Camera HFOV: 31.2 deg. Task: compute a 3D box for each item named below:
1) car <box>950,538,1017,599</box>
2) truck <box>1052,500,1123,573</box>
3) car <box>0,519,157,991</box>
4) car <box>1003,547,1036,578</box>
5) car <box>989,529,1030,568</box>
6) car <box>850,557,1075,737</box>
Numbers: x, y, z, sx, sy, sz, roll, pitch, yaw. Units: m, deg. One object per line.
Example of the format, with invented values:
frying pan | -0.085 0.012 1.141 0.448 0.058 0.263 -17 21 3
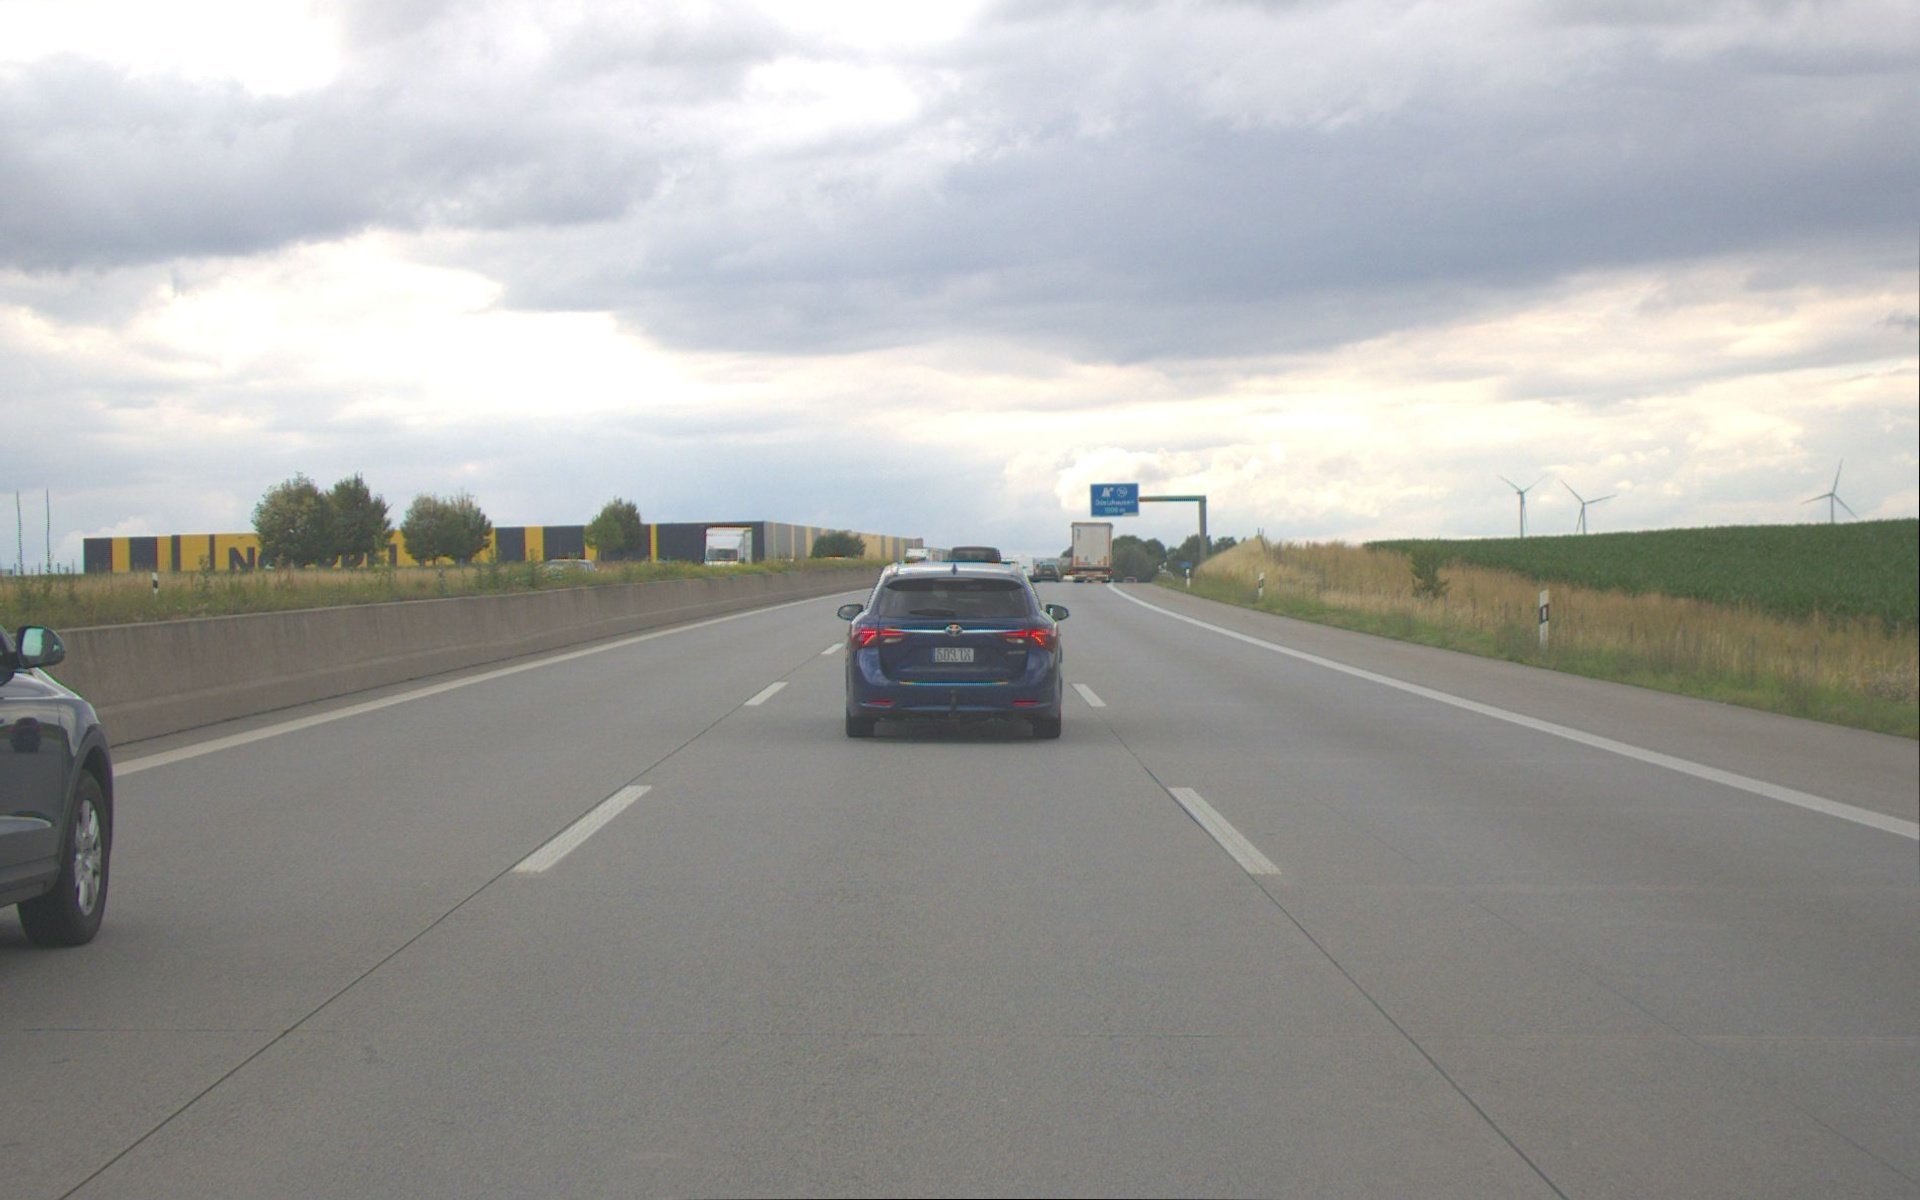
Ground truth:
car | 0.777 -1.048 116.896 1.993 2.007 4.000 1 0 -3
truck | 8.602 -4.242 234.076 3.950 4.740 12.077 1 0 -2
car | -4.138 0.504 11.877 1.792 1.590 5.158 1 1 -3
car | 3.943 -2.504 229.263 1.993 2.007 4.000 1 0 -2
car | 2.566 -2.689 179.671 1.993 2.007 4.000 2 1 0
car | -0.042 0.353 29.147 1.774 1.408 4.000 0 1 -2
